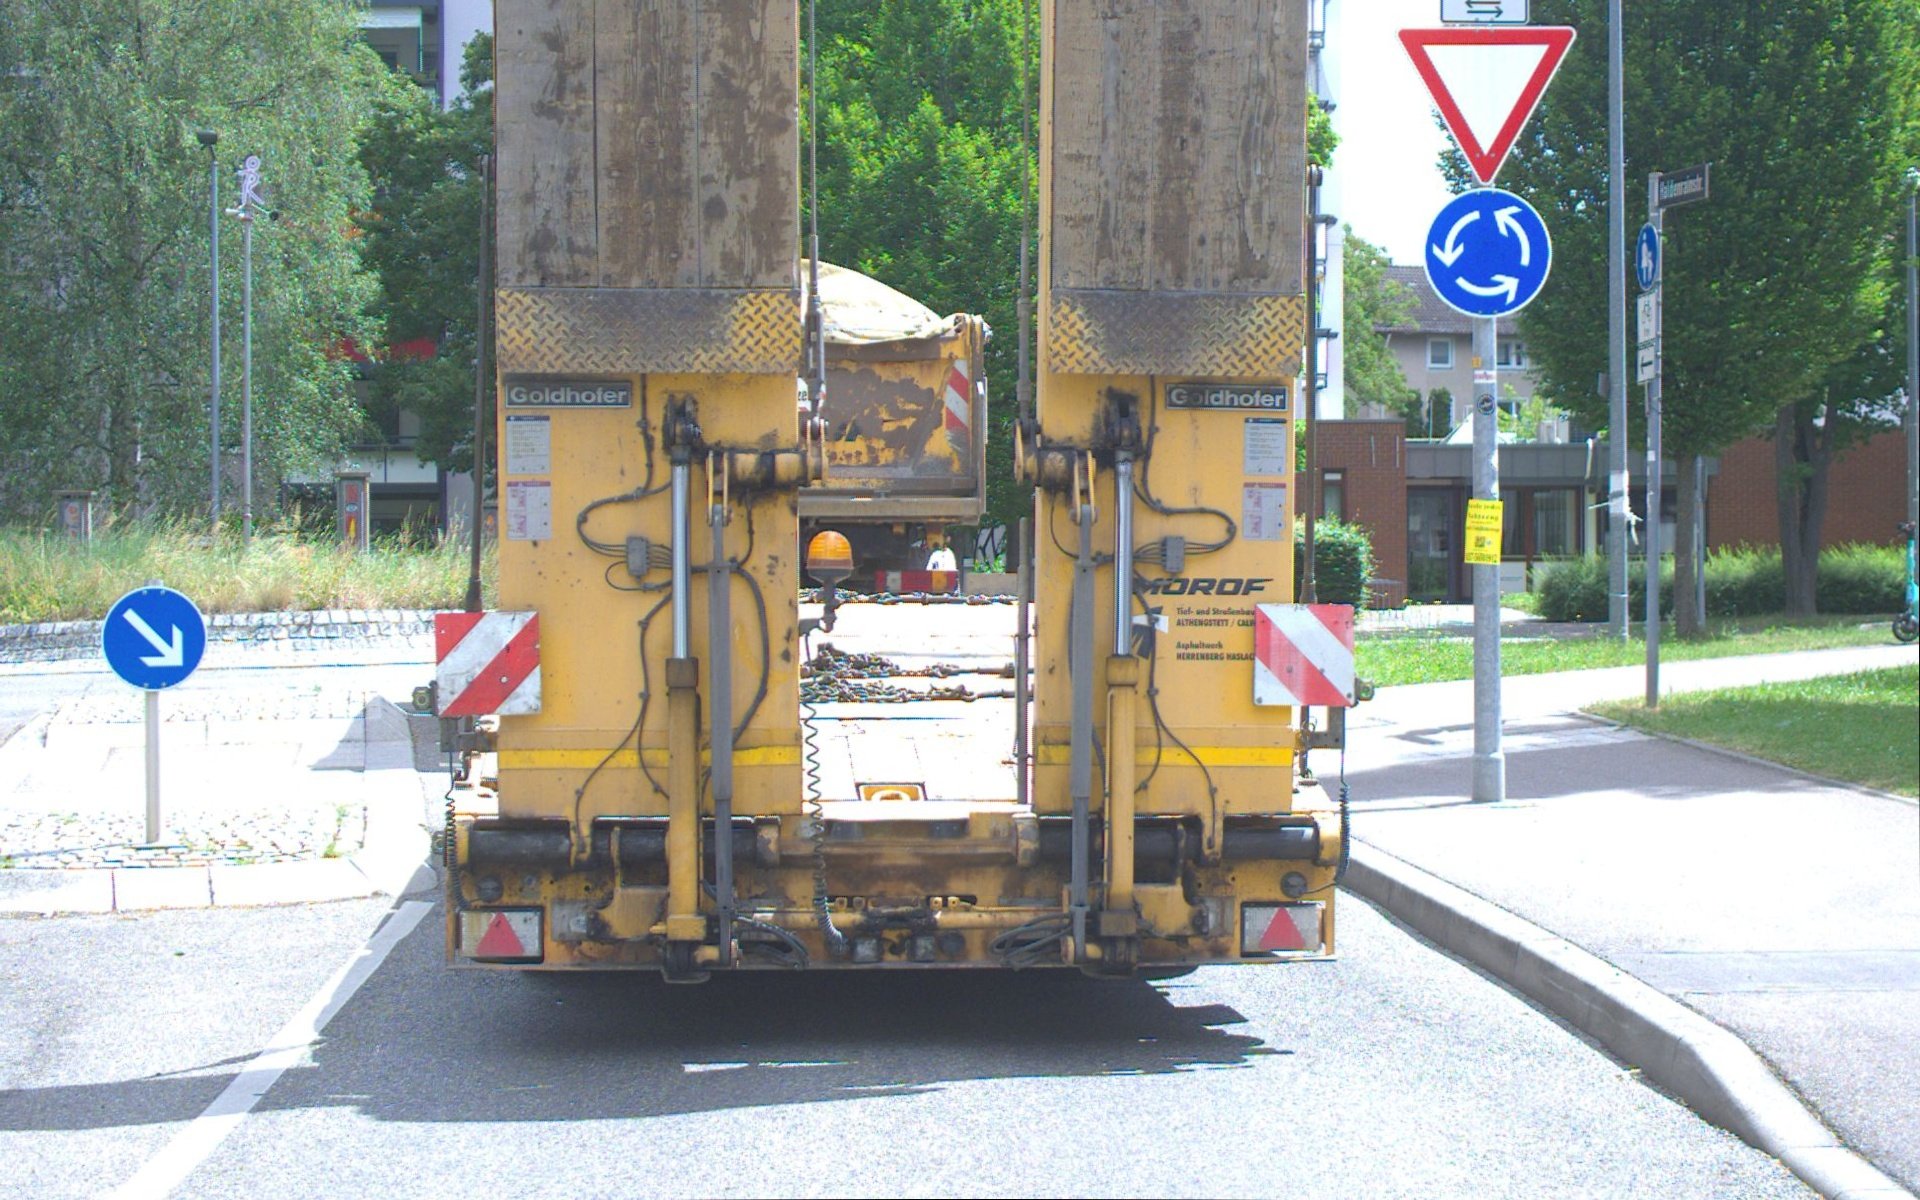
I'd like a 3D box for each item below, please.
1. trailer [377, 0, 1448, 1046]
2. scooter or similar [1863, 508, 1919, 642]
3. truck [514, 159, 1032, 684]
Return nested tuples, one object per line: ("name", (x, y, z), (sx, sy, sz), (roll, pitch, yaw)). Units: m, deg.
("trailer", (-0.539, -0.622, 14.751), (2.863, 3.361, 10.843), (1, 1, -5))
("scooter or similar", (9.834, -0.274, 35.512), (0.485, 1.338, 1.386), (-1, 1, 36))
("truck", (-1.475, -1.205, 24.414), (2.987, 3.024, 8.488), (1, 2, -5))
